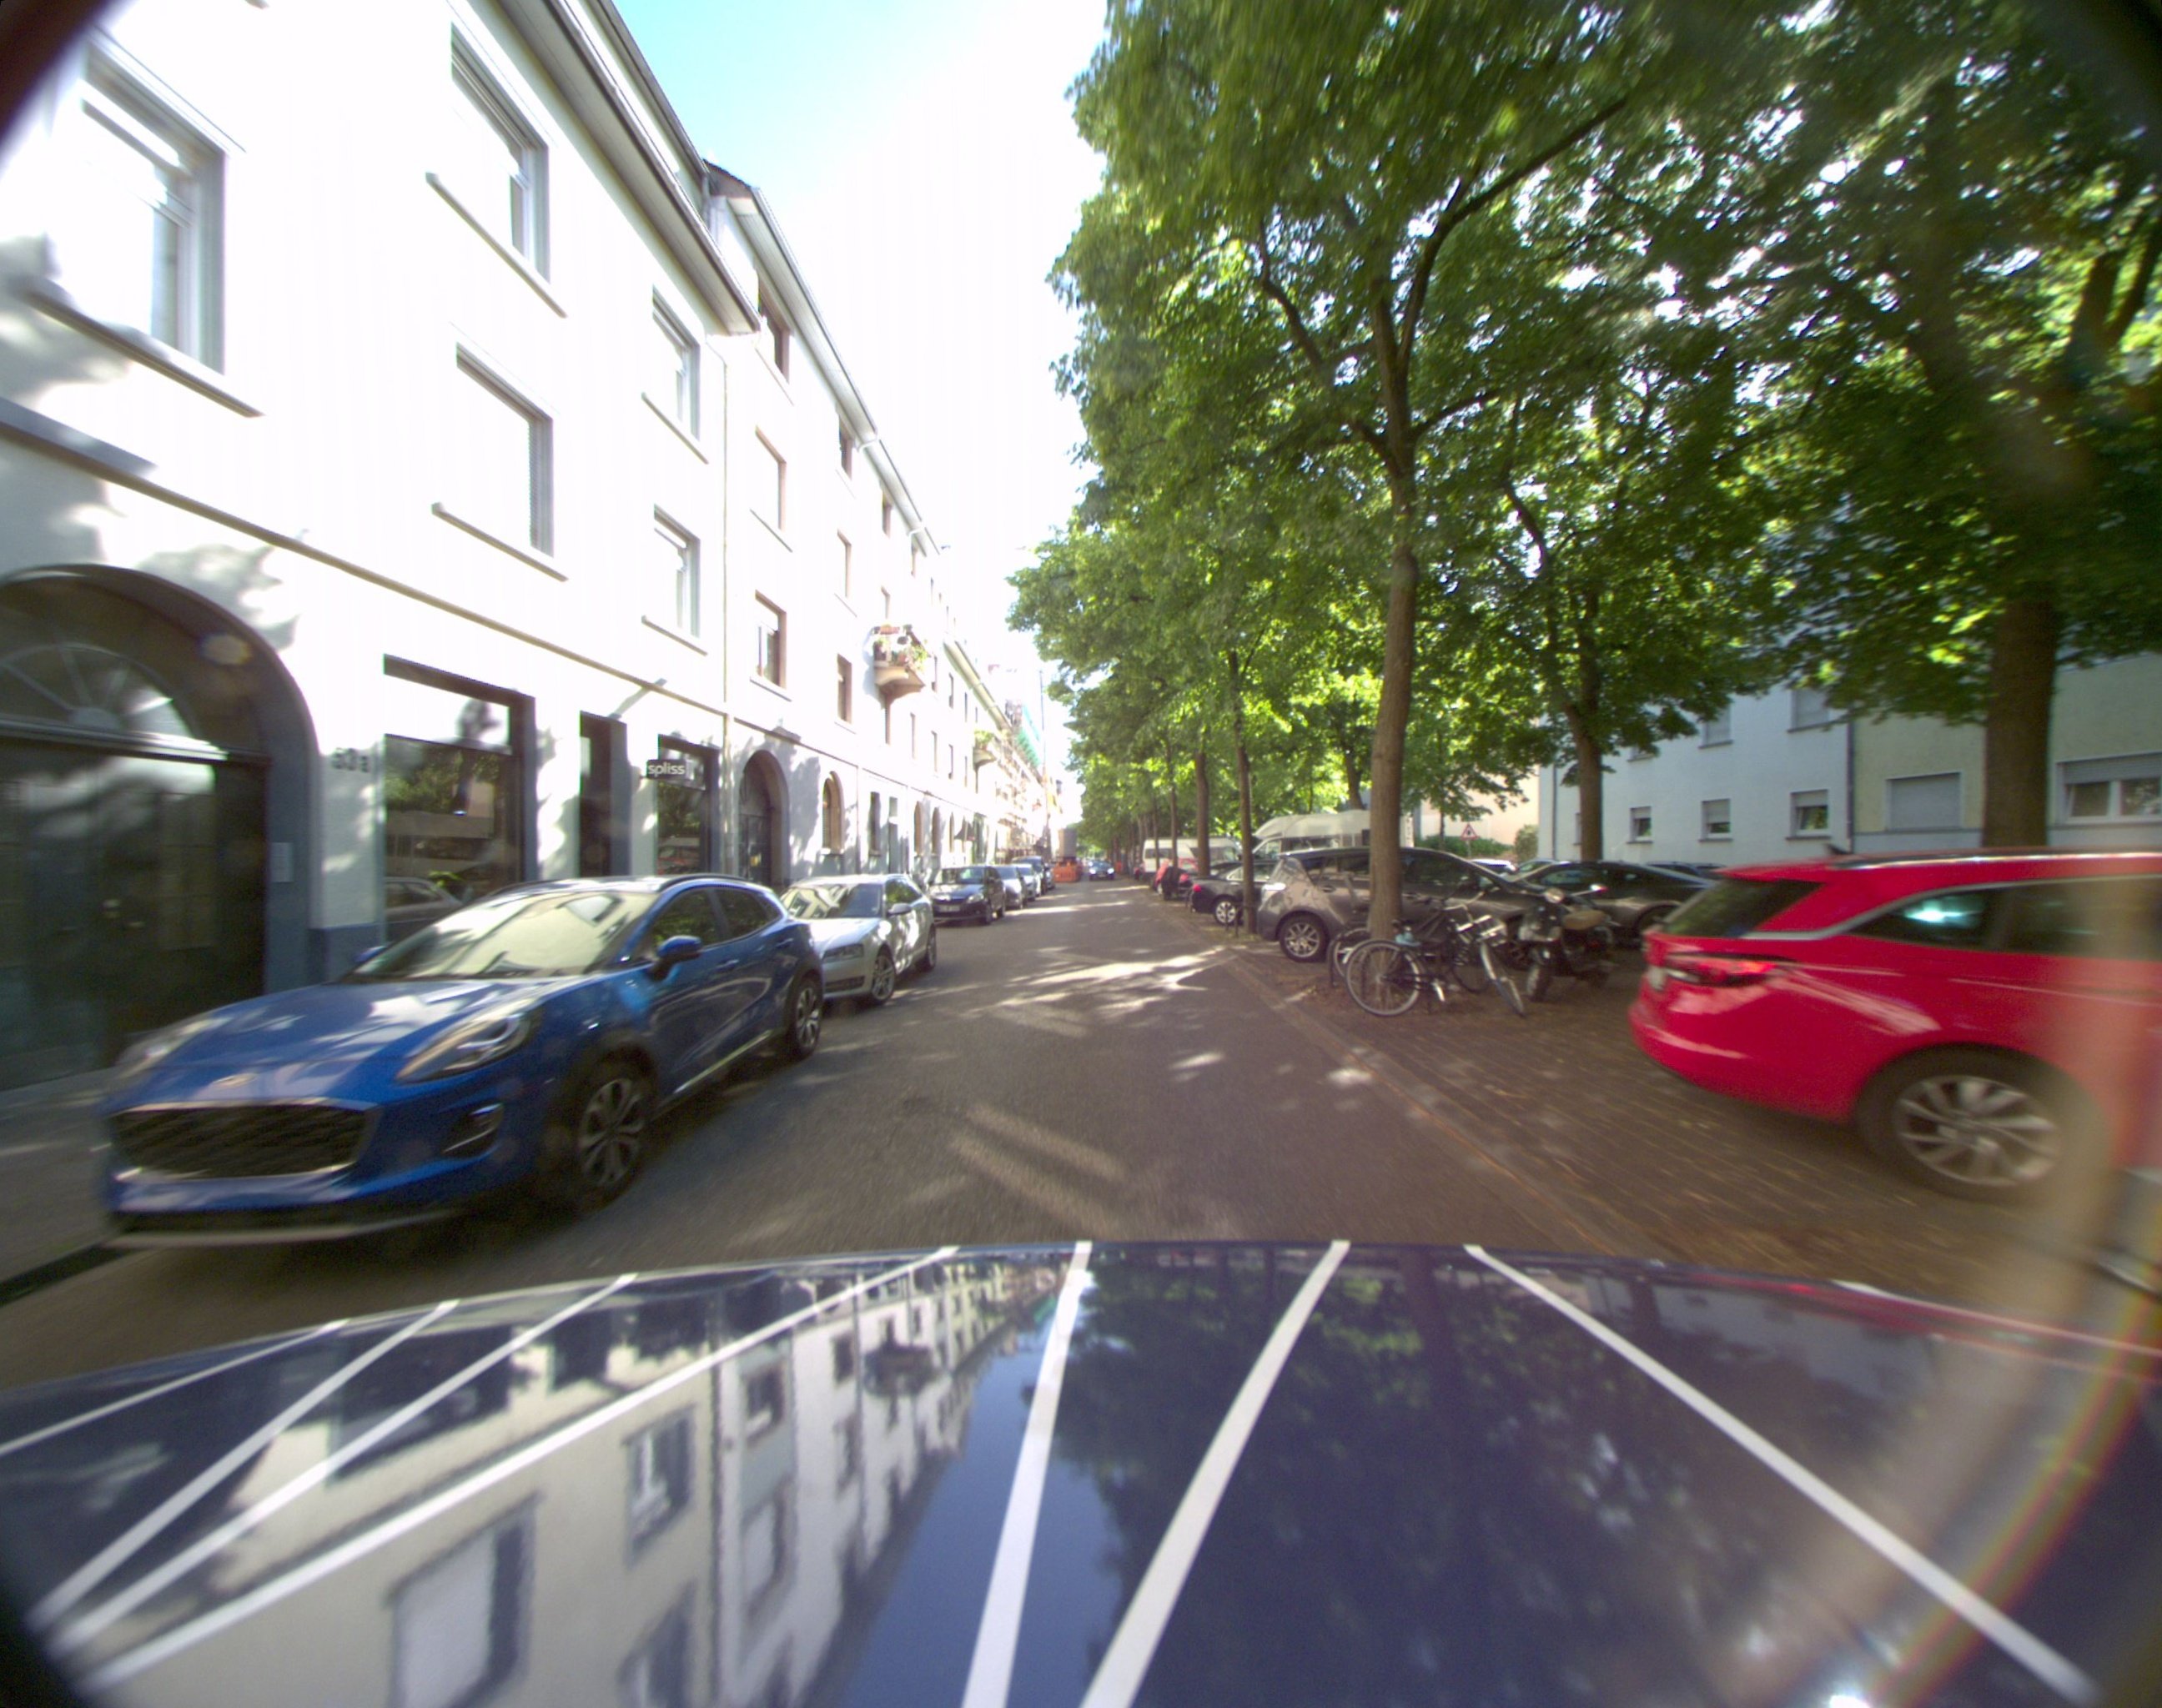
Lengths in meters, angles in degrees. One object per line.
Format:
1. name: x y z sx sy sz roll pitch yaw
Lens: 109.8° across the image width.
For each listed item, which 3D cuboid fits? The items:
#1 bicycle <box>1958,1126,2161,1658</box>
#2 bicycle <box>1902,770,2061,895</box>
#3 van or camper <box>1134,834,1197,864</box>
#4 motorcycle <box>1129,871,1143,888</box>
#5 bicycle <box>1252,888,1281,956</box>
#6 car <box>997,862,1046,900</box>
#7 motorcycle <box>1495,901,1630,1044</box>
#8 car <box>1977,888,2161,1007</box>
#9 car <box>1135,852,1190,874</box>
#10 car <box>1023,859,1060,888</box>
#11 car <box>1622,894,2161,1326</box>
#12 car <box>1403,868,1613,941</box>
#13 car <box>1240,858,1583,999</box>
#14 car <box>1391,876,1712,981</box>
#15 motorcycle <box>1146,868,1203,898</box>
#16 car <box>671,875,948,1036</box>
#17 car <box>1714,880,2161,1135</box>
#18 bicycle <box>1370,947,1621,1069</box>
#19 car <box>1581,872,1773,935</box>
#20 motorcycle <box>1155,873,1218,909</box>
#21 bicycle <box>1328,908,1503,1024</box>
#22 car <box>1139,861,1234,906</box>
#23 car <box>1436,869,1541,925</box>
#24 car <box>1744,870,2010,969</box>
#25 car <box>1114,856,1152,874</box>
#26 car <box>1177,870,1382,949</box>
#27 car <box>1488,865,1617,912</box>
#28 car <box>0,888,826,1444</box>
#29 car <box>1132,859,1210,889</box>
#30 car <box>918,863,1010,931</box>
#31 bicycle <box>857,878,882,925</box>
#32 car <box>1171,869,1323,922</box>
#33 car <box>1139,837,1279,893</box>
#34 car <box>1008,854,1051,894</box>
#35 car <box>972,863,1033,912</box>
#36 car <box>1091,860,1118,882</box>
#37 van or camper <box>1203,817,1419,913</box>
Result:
1. bicycle: 3.180 1.226 1.591 1.813 0.988 0.426 0 0 16
2. bicycle: 9.587 -0.210 8.165 0.355 1.193 1.804 -2 0 25
3. van or camper: 8.734 -0.476 78.559 6.016 2.984 2.404 1 0 30
4. motorcycle: 4.389 2.016 60.103 0.631 1.316 2.232 1 0 16
5. bicycle: 3.496 1.243 14.263 0.428 1.124 1.681 0 0 17
6. car: -2.355 1.026 30.855 1.611 1.412 4.568 0 0 0
7. motorcycle: 4.914 1.139 7.733 1.518 1.247 0.642 0 0 -36
8. car: 15.620 1.338 10.744 1.620 1.566 3.579 1 -1 -1
9. car: 9.670 1.084 90.542 6.185 2.496 2.143 1 0 28
10. car: -2.126 1.054 42.007 1.709 1.502 4.284 0 0 1
11. car: 5.106 0.956 3.074 4.616 1.477 1.764 -1 0 31
12. car: 9.525 1.083 17.339 3.990 1.477 1.833 -1 0 23
13. car: 4.529 0.925 10.723 4.079 1.643 1.866 -1 0 28
14. car: 7.501 1.085 12.422 4.187 1.383 1.822 -1 0 35
15. motorcycle: 4.166 1.283 33.977 2.326 1.327 0.968 0 0 -8
16. car: -2.960 1.025 9.369 1.774 1.423 4.291 -1 0 1
17. car: 7.211 0.957 5.240 4.105 1.464 1.875 -1 0 30
18. bicycle: 3.580 1.322 6.720 1.900 0.913 0.380 -1 0 21
19. car: 15.662 1.246 20.309 1.648 1.390 4.304 -2 -1 -1
20. motorcycle: 3.693 1.284 26.511 2.151 1.222 0.882 -1 0 10
21. bicycle: 3.585 1.179 8.243 1.687 1.152 0.380 -1 0 21
22. car: 4.089 1.115 30.105 1.667 1.608 3.871 1 0 -31
23. car: 15.960 1.613 30.017 1.998 2.002 4.000 1 0 1
24. car: 15.758 1.204 15.343 1.478 1.666 3.601 3 -1 -1
25. car: 6.601 1.367 96.471 4.386 2.155 1.774 1 0 28
26. car: 4.289 1.124 16.697 4.008 1.465 1.630 1 0 36
27. car: 15.903 1.106 25.886 1.754 1.427 4.081 2 -1 -1
28. car: -3.125 1.077 4.459 1.771 1.542 4.184 -2 0 0
29. car: 5.223 1.161 44.279 4.090 1.516 1.705 -4 -2 31
30. car: -2.888 1.009 19.600 1.584 1.541 4.042 -1 0 2
31. bicycle: -5.773 1.271 20.779 0.408 1.179 1.847 -1 0 -8
32. car: 4.967 1.189 22.935 4.146 1.417 1.718 0 0 33
33. car: 6.181 0.539 37.135 6.310 2.544 2.343 -1 0 33
34. car: -2.430 0.926 36.443 1.775 1.783 3.990 0 0 0
35. car: -2.537 1.053 25.393 1.603 1.484 3.967 0 0 0
36. car: 1.722 1.219 55.198 1.791 1.510 4.001 1 0 4
37. van or camper: 7.429 0.379 24.792 6.290 2.808 2.412 -1 0 30
